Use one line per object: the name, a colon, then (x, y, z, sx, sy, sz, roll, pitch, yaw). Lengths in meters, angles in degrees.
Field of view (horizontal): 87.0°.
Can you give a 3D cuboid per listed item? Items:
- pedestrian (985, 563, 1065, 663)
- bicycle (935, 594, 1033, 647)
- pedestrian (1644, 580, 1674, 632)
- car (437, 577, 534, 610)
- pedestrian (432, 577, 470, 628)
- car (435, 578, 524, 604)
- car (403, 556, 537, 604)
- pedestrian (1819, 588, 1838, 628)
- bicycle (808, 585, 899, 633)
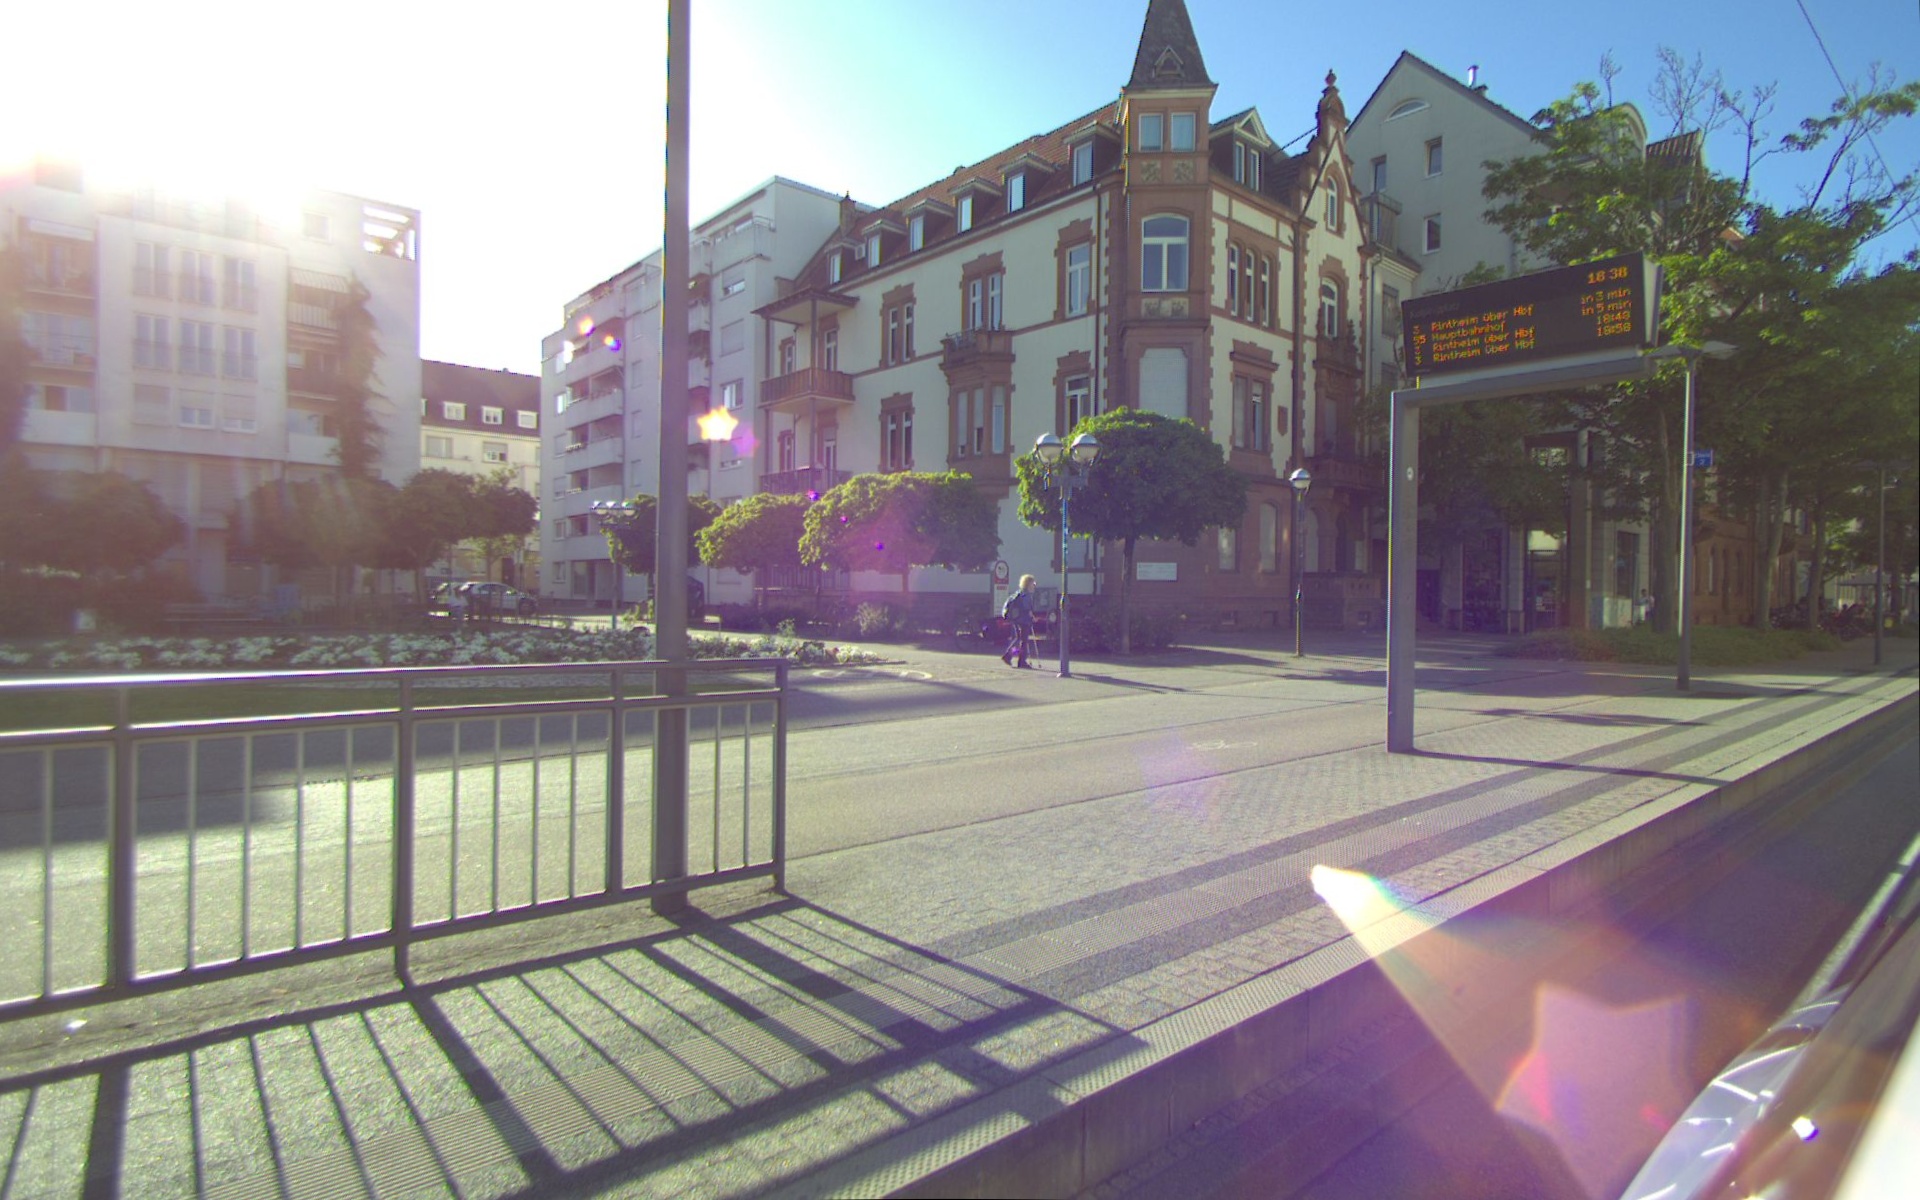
pedestrian: (1.139, 0.203, 17.749, 1.064, 1.689, 0.944, 1, 0, 37)
bicycle: (0.616, 0.457, 24.126, 0.786, 1.081, 2.767, 1, 2, 40)
pedestrian: (24.033, 0.207, 34.793, 0.740, 1.757, 0.864, 1, 0, 43)
car: (-22.468, -0.315, 47.944, 3.923, 1.536, 2.001, 0, 1, -34)
pedestrian: (-14.762, 0.063, 29.333, 0.917, 1.429, 1.529, 0, 1, -30)
car: (-24.851, -0.464, 52.346, 3.923, 1.304, 2.001, 0, 1, -34)
car: (-27.876, -1.121, 57.734, 2.807, 2.587, 6.293, 1, 1, 45)
pedestrian: (44.786, 0.413, 52.199, 0.549, 2.039, 0.654, 0, 0, -38)
bicycle: (-3.230, 0.257, 30.917, 2.864, 1.389, 0.745, 0, 1, -41)
